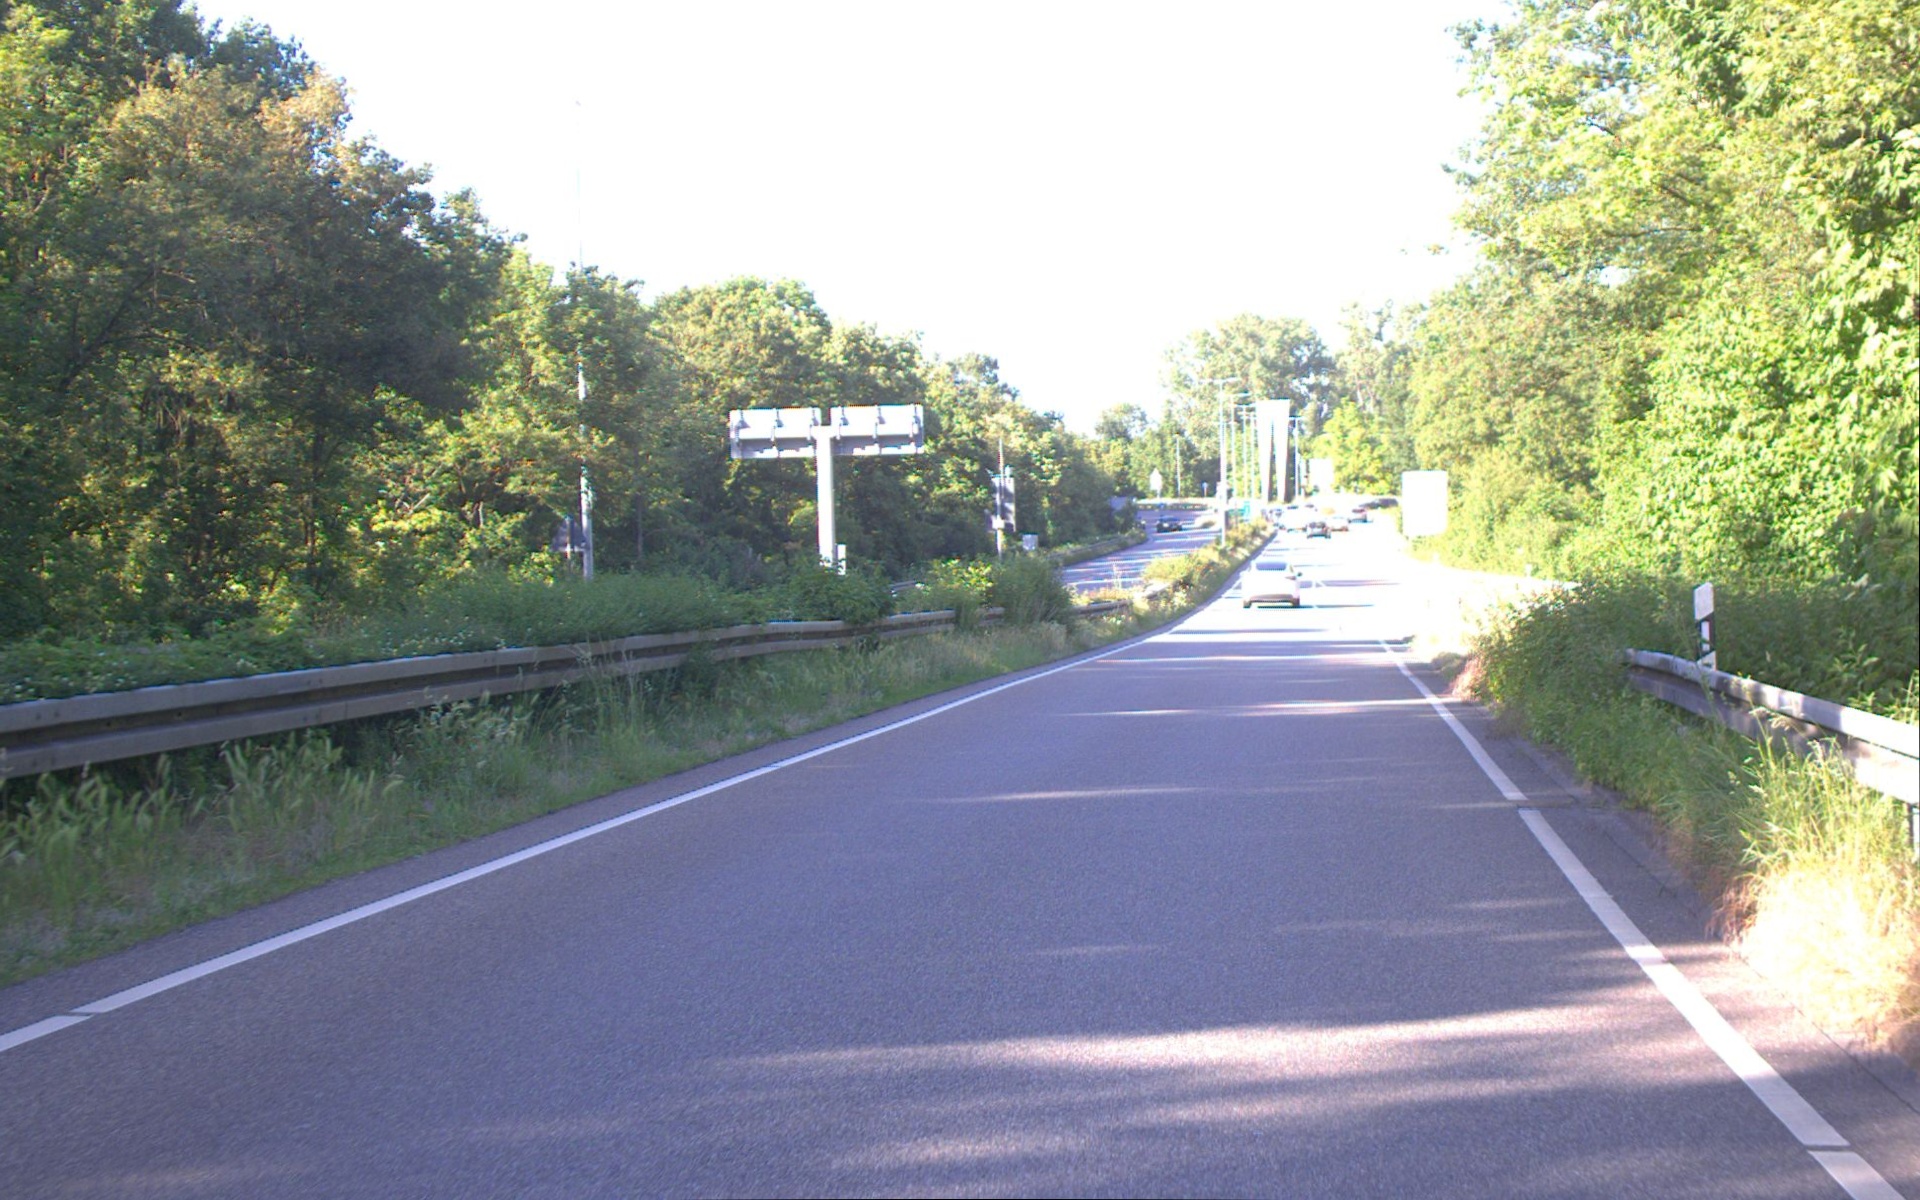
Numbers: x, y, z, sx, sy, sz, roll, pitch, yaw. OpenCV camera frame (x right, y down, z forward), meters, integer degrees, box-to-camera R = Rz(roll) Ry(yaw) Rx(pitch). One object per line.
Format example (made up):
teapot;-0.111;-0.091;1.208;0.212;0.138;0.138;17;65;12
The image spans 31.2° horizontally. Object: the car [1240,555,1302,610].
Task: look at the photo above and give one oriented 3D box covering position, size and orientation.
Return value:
car;10.454;-0.601;115.647;1.885;1.809;4.000;1;1;3
